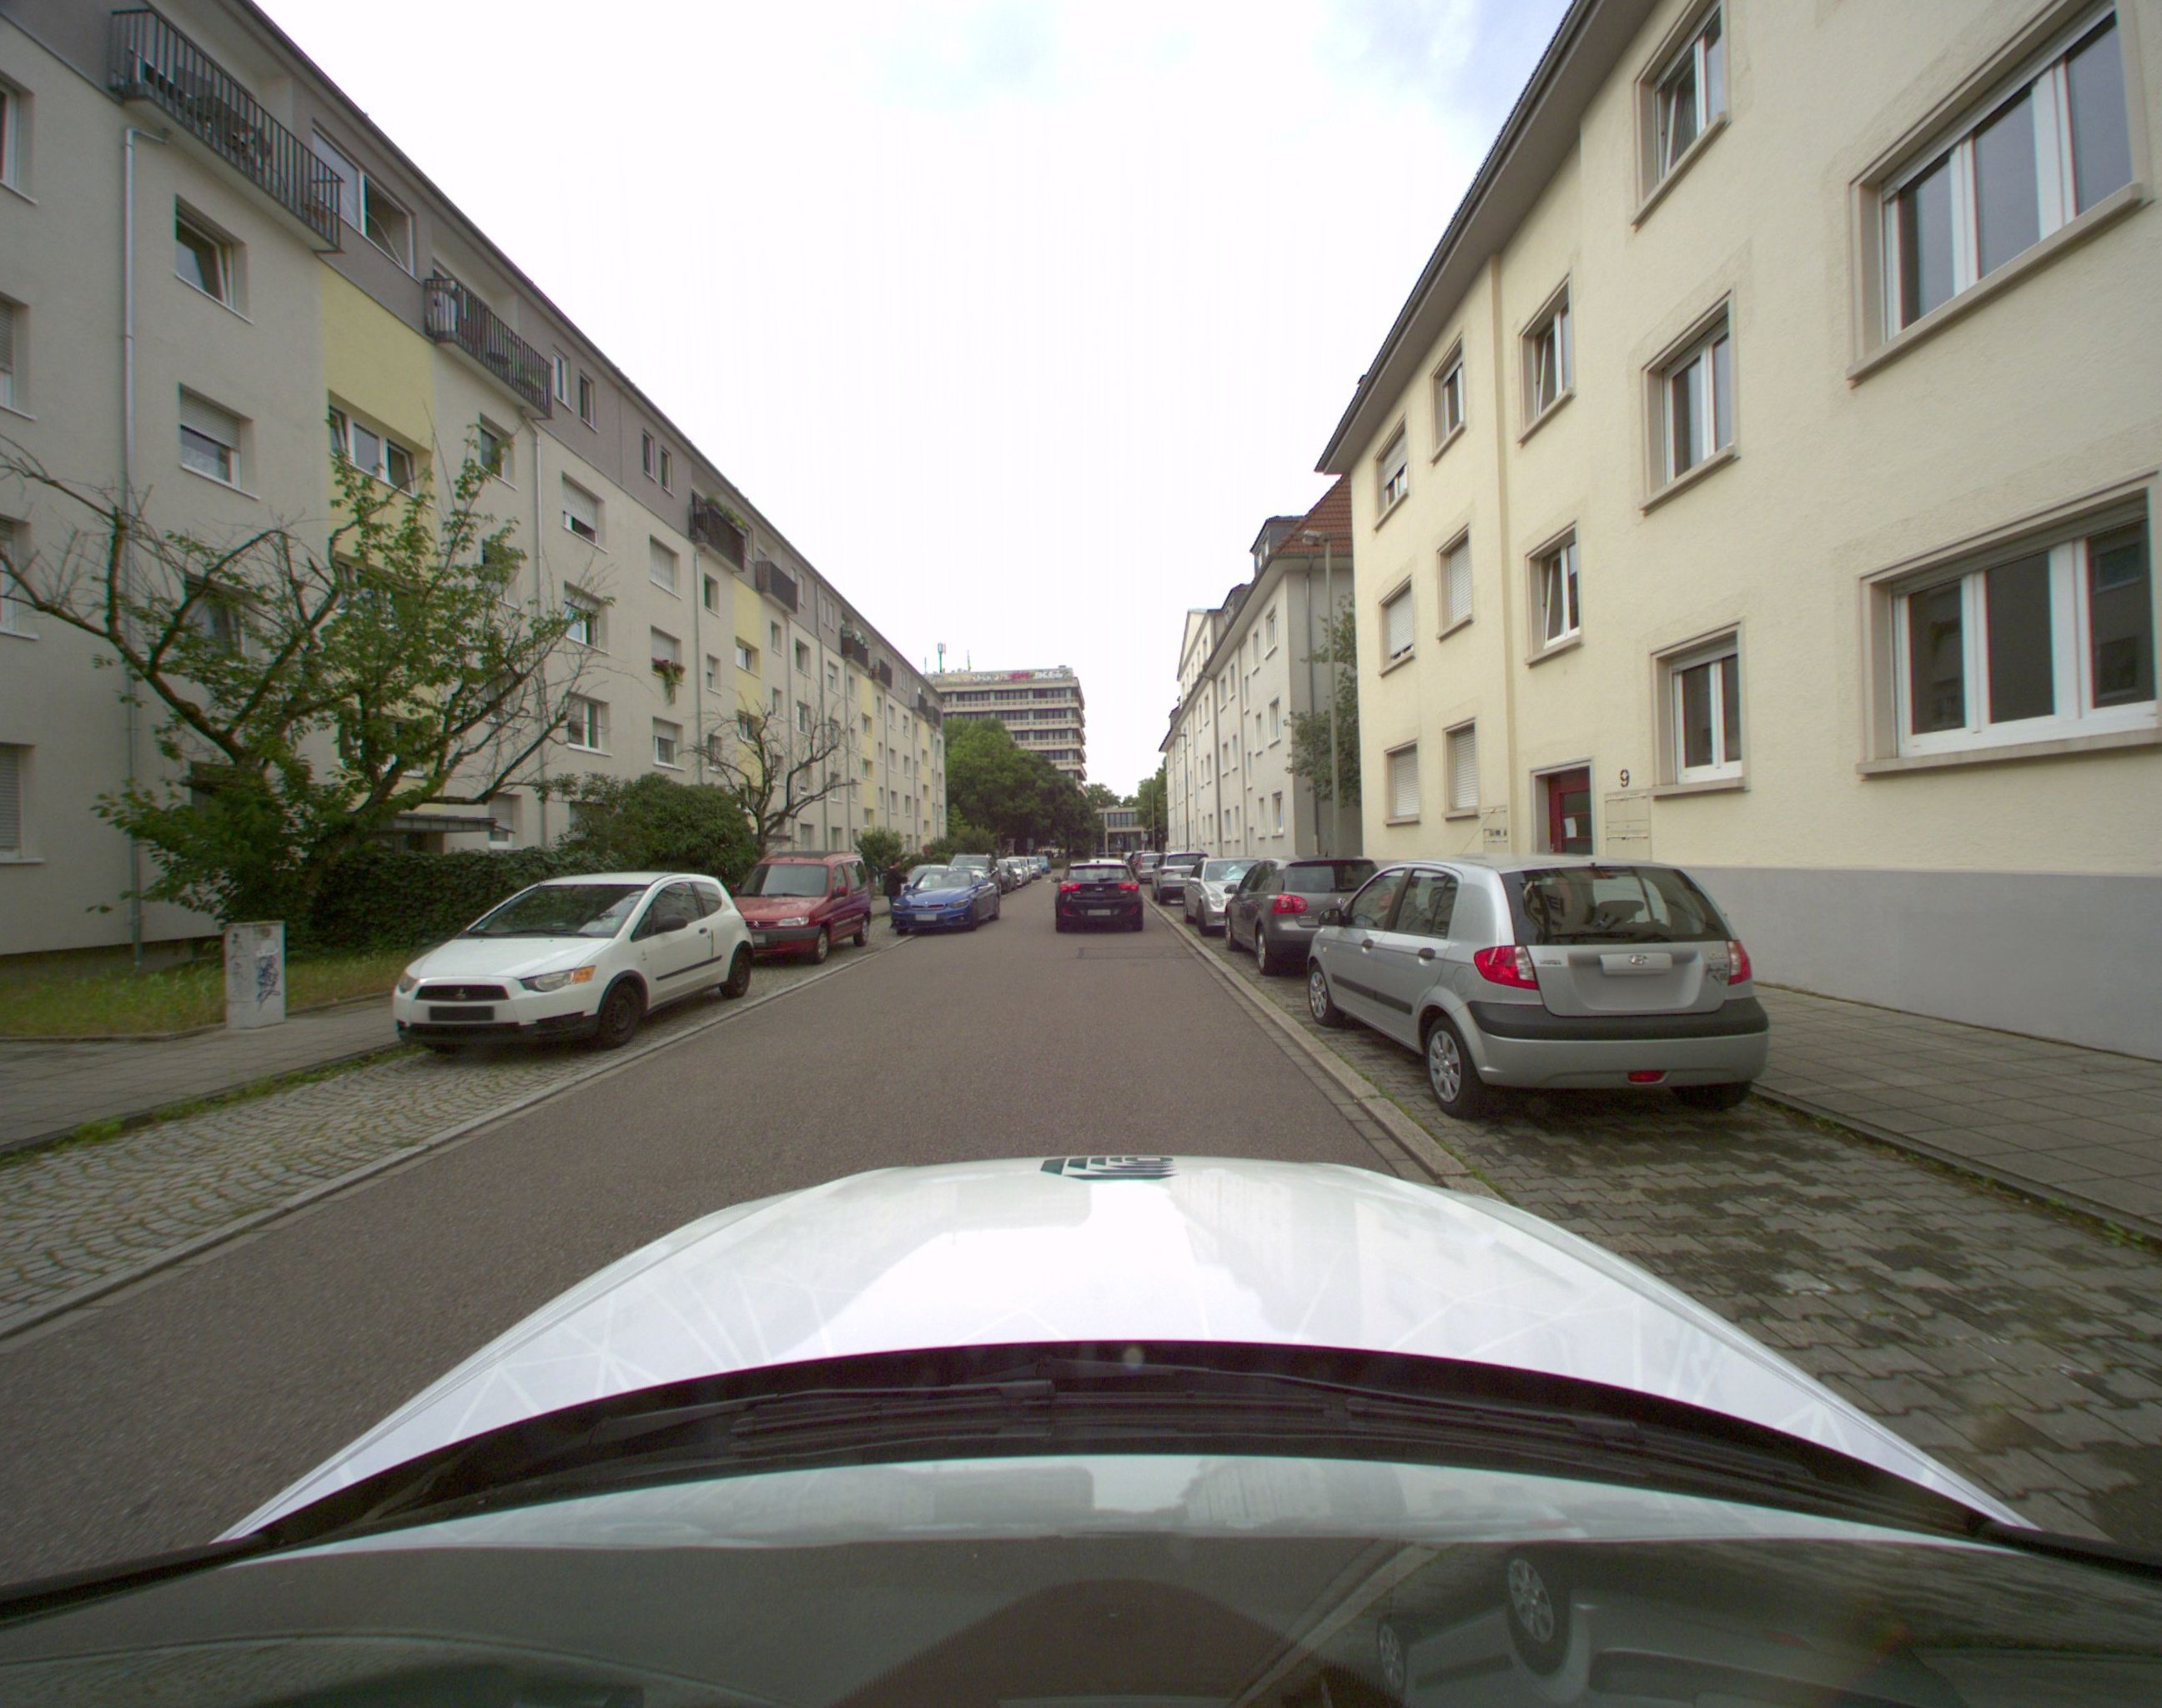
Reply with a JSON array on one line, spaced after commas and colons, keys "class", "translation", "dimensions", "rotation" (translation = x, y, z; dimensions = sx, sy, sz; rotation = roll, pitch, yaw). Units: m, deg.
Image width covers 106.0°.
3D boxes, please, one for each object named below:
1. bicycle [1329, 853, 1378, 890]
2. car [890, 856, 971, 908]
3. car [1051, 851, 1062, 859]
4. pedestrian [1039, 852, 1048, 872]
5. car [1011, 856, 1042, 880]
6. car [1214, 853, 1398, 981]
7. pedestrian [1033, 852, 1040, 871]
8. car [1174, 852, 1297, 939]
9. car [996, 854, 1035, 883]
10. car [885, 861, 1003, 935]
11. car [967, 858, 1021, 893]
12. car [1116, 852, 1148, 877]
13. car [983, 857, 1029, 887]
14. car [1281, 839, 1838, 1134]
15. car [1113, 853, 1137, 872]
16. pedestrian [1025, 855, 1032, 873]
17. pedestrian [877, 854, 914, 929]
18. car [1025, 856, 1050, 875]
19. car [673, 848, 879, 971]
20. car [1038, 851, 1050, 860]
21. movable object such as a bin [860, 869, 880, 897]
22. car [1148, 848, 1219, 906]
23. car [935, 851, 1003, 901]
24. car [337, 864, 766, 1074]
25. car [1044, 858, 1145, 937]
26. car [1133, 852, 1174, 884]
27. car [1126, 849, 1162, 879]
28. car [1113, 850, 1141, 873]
[{"class": "bicycle", "translation": [8.221, 0.531, 24.583], "dimensions": [1.287, 1.062, 0.498], "rotation": [-2, 0, 3]}, {"class": "car", "translation": [-4.667, 0.818, 25.717], "dimensions": [1.738, 1.464, 3.787], "rotation": [-2, 0, 1]}, {"class": "car", "translation": [-4.270, 0.161, 141.218], "dimensions": [1.660, 1.333, 3.396], "rotation": [-1, 0, 1]}, {"class": "pedestrian", "translation": [-3.552, 0.775, 77.839], "dimensions": [0.711, 1.831, 0.798], "rotation": [-1, 0, 3]}, {"class": "car", "translation": [-3.775, 0.950, 57.211], "dimensions": [1.988, 1.541, 3.998], "rotation": [-1, 0, -1]}, {"class": "car", "translation": [2.941, 0.729, 11.434], "dimensions": [1.597, 1.476, 3.870], "rotation": [-1, 0, 1]}, {"class": "pedestrian", "translation": [-4.262, 0.703, 77.920], "dimensions": [0.602, 1.831, 0.676], "rotation": [-1, 0, 3]}, {"class": "car", "translation": [2.937, 0.715, 16.348], "dimensions": [1.718, 1.476, 4.506], "rotation": [-1, 0, 2]}, {"class": "car", "translation": [-3.874, 0.843, 48.901], "dimensions": [1.888, 1.599, 4.522], "rotation": [1, 0, 1]}, {"class": "car", "translation": [-3.078, 0.942, 19.265], "dimensions": [1.838, 1.451, 4.504], "rotation": [-1, 0, 2]}, {"class": "car", "translation": [-3.943, 0.949, 37.672], "dimensions": [1.888, 1.452, 4.667], "rotation": [1, 0, 1]}, {"class": "car", "translation": [3.222, 0.648, 52.281], "dimensions": [1.814, 1.519, 4.674], "rotation": [-2, 0, 1]}, {"class": "car", "translation": [-3.867, 0.899, 42.776], "dimensions": [1.888, 1.452, 4.522], "rotation": [1, 0, 1]}, {"class": "car", "translation": [2.904, 0.666, 6.046], "dimensions": [1.843, 1.450, 3.831], "rotation": [-1, 0, -1]}, {"class": "car", "translation": [3.693, 0.712, 68.775], "dimensions": [1.814, 1.519, 4.674], "rotation": [-1, 0, 1]}, {"class": "pedestrian", "translation": [-5.014, 0.973, 77.678], "dimensions": [0.598, 1.713, 0.649], "rotation": [-1, 0, 3]}, {"class": "pedestrian", "translation": [-4.415, 0.867, 19.350], "dimensions": [0.742, 1.701, 0.792], "rotation": [-2, 0, -16]}, {"class": "car", "translation": [-3.686, 0.919, 69.532], "dimensions": [1.988, 1.541, 3.998], "rotation": [-1, 0, -1]}, {"class": "car", "translation": [-4.985, 0.807, 14.058], "dimensions": [1.951, 1.770, 4.360], "rotation": [-1, 0, -1]}, {"class": "car", "translation": [-5.816, 0.272, 127.797], "dimensions": [1.660, 1.333, 3.396], "rotation": [-1, 0, 1]}, {"class": "movable object such as a bin", "translation": [-7.707, 1.059, 29.764], "dimensions": [0.549, 0.954, 0.635], "rotation": [-3, 0, 1]}, {"class": "car", "translation": [3.088, 0.656, 25.329], "dimensions": [1.813, 1.642, 4.093], "rotation": [-1, 0, 2]}, {"class": "car", "translation": [-4.207, 0.791, 31.259], "dimensions": [1.888, 1.740, 4.476], "rotation": [1, 0, 1]}, {"class": "car", "translation": [-4.836, 0.909, 8.218], "dimensions": [1.714, 1.570, 3.871], "rotation": [0, 0, 1]}, {"class": "car", "translation": [0.338, 0.847, 17.854], "dimensions": [1.896, 1.433, 4.235], "rotation": [-2, 0, 2]}, {"class": "car", "translation": [3.617, 0.670, 41.274], "dimensions": [1.813, 1.503, 4.093], "rotation": [-2, 0, 2]}, {"class": "car", "translation": [3.519, 0.538, 45.998], "dimensions": [1.813, 1.603, 4.093], "rotation": [-2, 0, 2]}, {"class": "car", "translation": [3.302, 0.521, 58.773], "dimensions": [1.814, 1.519, 4.674], "rotation": [-2, 0, 1]}]
